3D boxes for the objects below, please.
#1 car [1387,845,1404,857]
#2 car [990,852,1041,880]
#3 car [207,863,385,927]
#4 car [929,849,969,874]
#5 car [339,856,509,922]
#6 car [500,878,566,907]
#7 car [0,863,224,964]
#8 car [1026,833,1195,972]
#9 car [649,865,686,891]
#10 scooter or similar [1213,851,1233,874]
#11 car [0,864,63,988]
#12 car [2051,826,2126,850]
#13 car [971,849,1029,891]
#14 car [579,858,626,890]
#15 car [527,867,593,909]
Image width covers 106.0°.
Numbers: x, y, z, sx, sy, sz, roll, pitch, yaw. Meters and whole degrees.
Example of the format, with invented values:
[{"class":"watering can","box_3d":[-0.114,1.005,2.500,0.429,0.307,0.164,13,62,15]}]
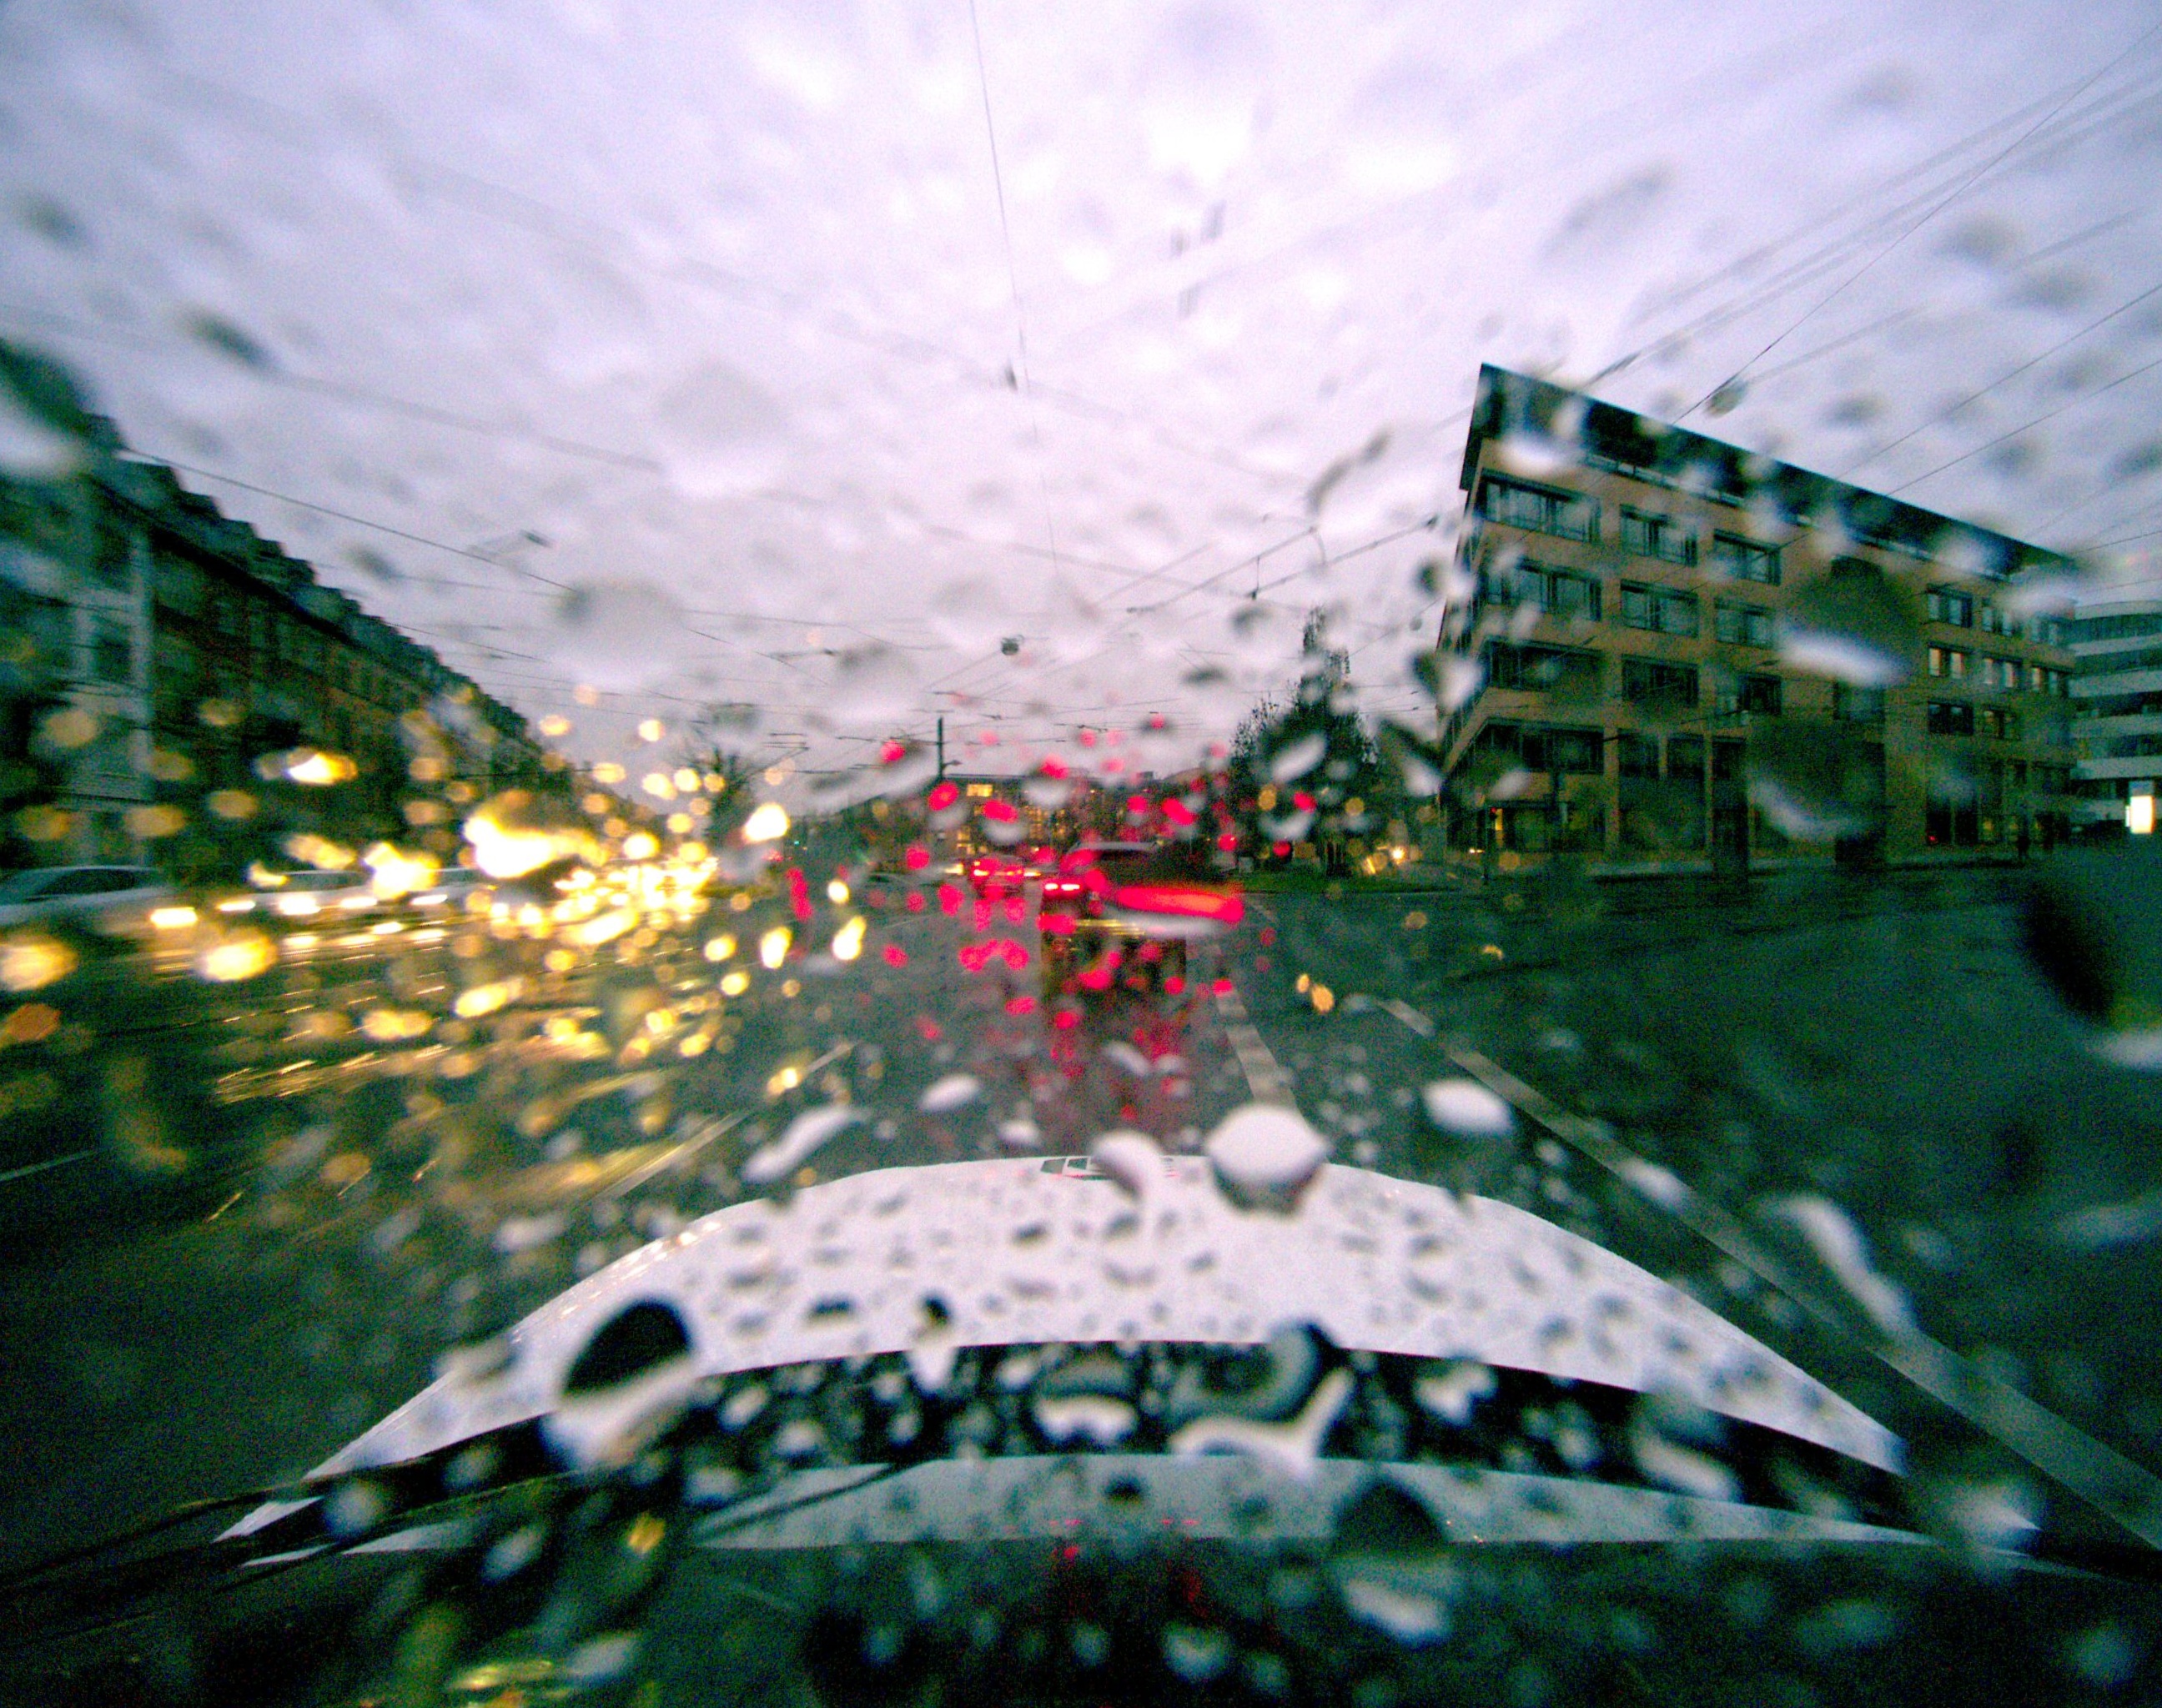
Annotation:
[{"class":"car","box_3d":[32.943,-0.343,85.314,1.653,1.180,3.728,-1,1,21]},{"class":"car","box_3d":[-4.144,0.729,50.986,2.003,1.618,3.968,-1,1,-24]},{"class":"car","box_3d":[-19.537,0.954,20.492,1.683,1.392,3.594,-1,0,-16]},{"class":"car","box_3d":[-9.373,0.494,57.481,2.001,1.618,3.972,-1,1,-21]},{"class":"car","box_3d":[-16.429,0.792,20.656,1.683,1.457,4.313,-1,0,-14]},{"class":"car","box_3d":[-25.835,1.777,38.502,1.604,1.134,3.766,-1,0,-18]},{"class":"car","box_3d":[-18.052,0.969,14.538,1.681,1.525,4.210,-1,0,-12]},{"class":"car","box_3d":[0.468,0.562,11.706,1.982,1.616,4.004,-1,1,3]},{"class":"car","box_3d":[-22.152,1.250,43.713,1.544,1.245,4.054,-2,1,-24]},{"class":"scooter or similar","box_3d":[8.065,0.481,46.186,1.151,1.232,0.482,-1,0,-40]},{"class":"car","box_3d":[-13.352,0.870,8.137,1.680,1.457,4.048,-1,0,-10]},{"class":"car","box_3d":[62.293,-0.990,50.339,3.931,1.440,1.984,-1,0,-24]},{"class":"car","box_3d":[-2.951,0.548,30.320,1.990,1.398,3.994,-1,1,-4]},{"class":"car","box_3d":[-24.858,1.004,42.418,1.688,1.553,4.088,-1,0,-25]},{"class":"car","box_3d":[-20.194,1.285,31.668,1.492,1.487,3.132,-1,0,-20]}]
